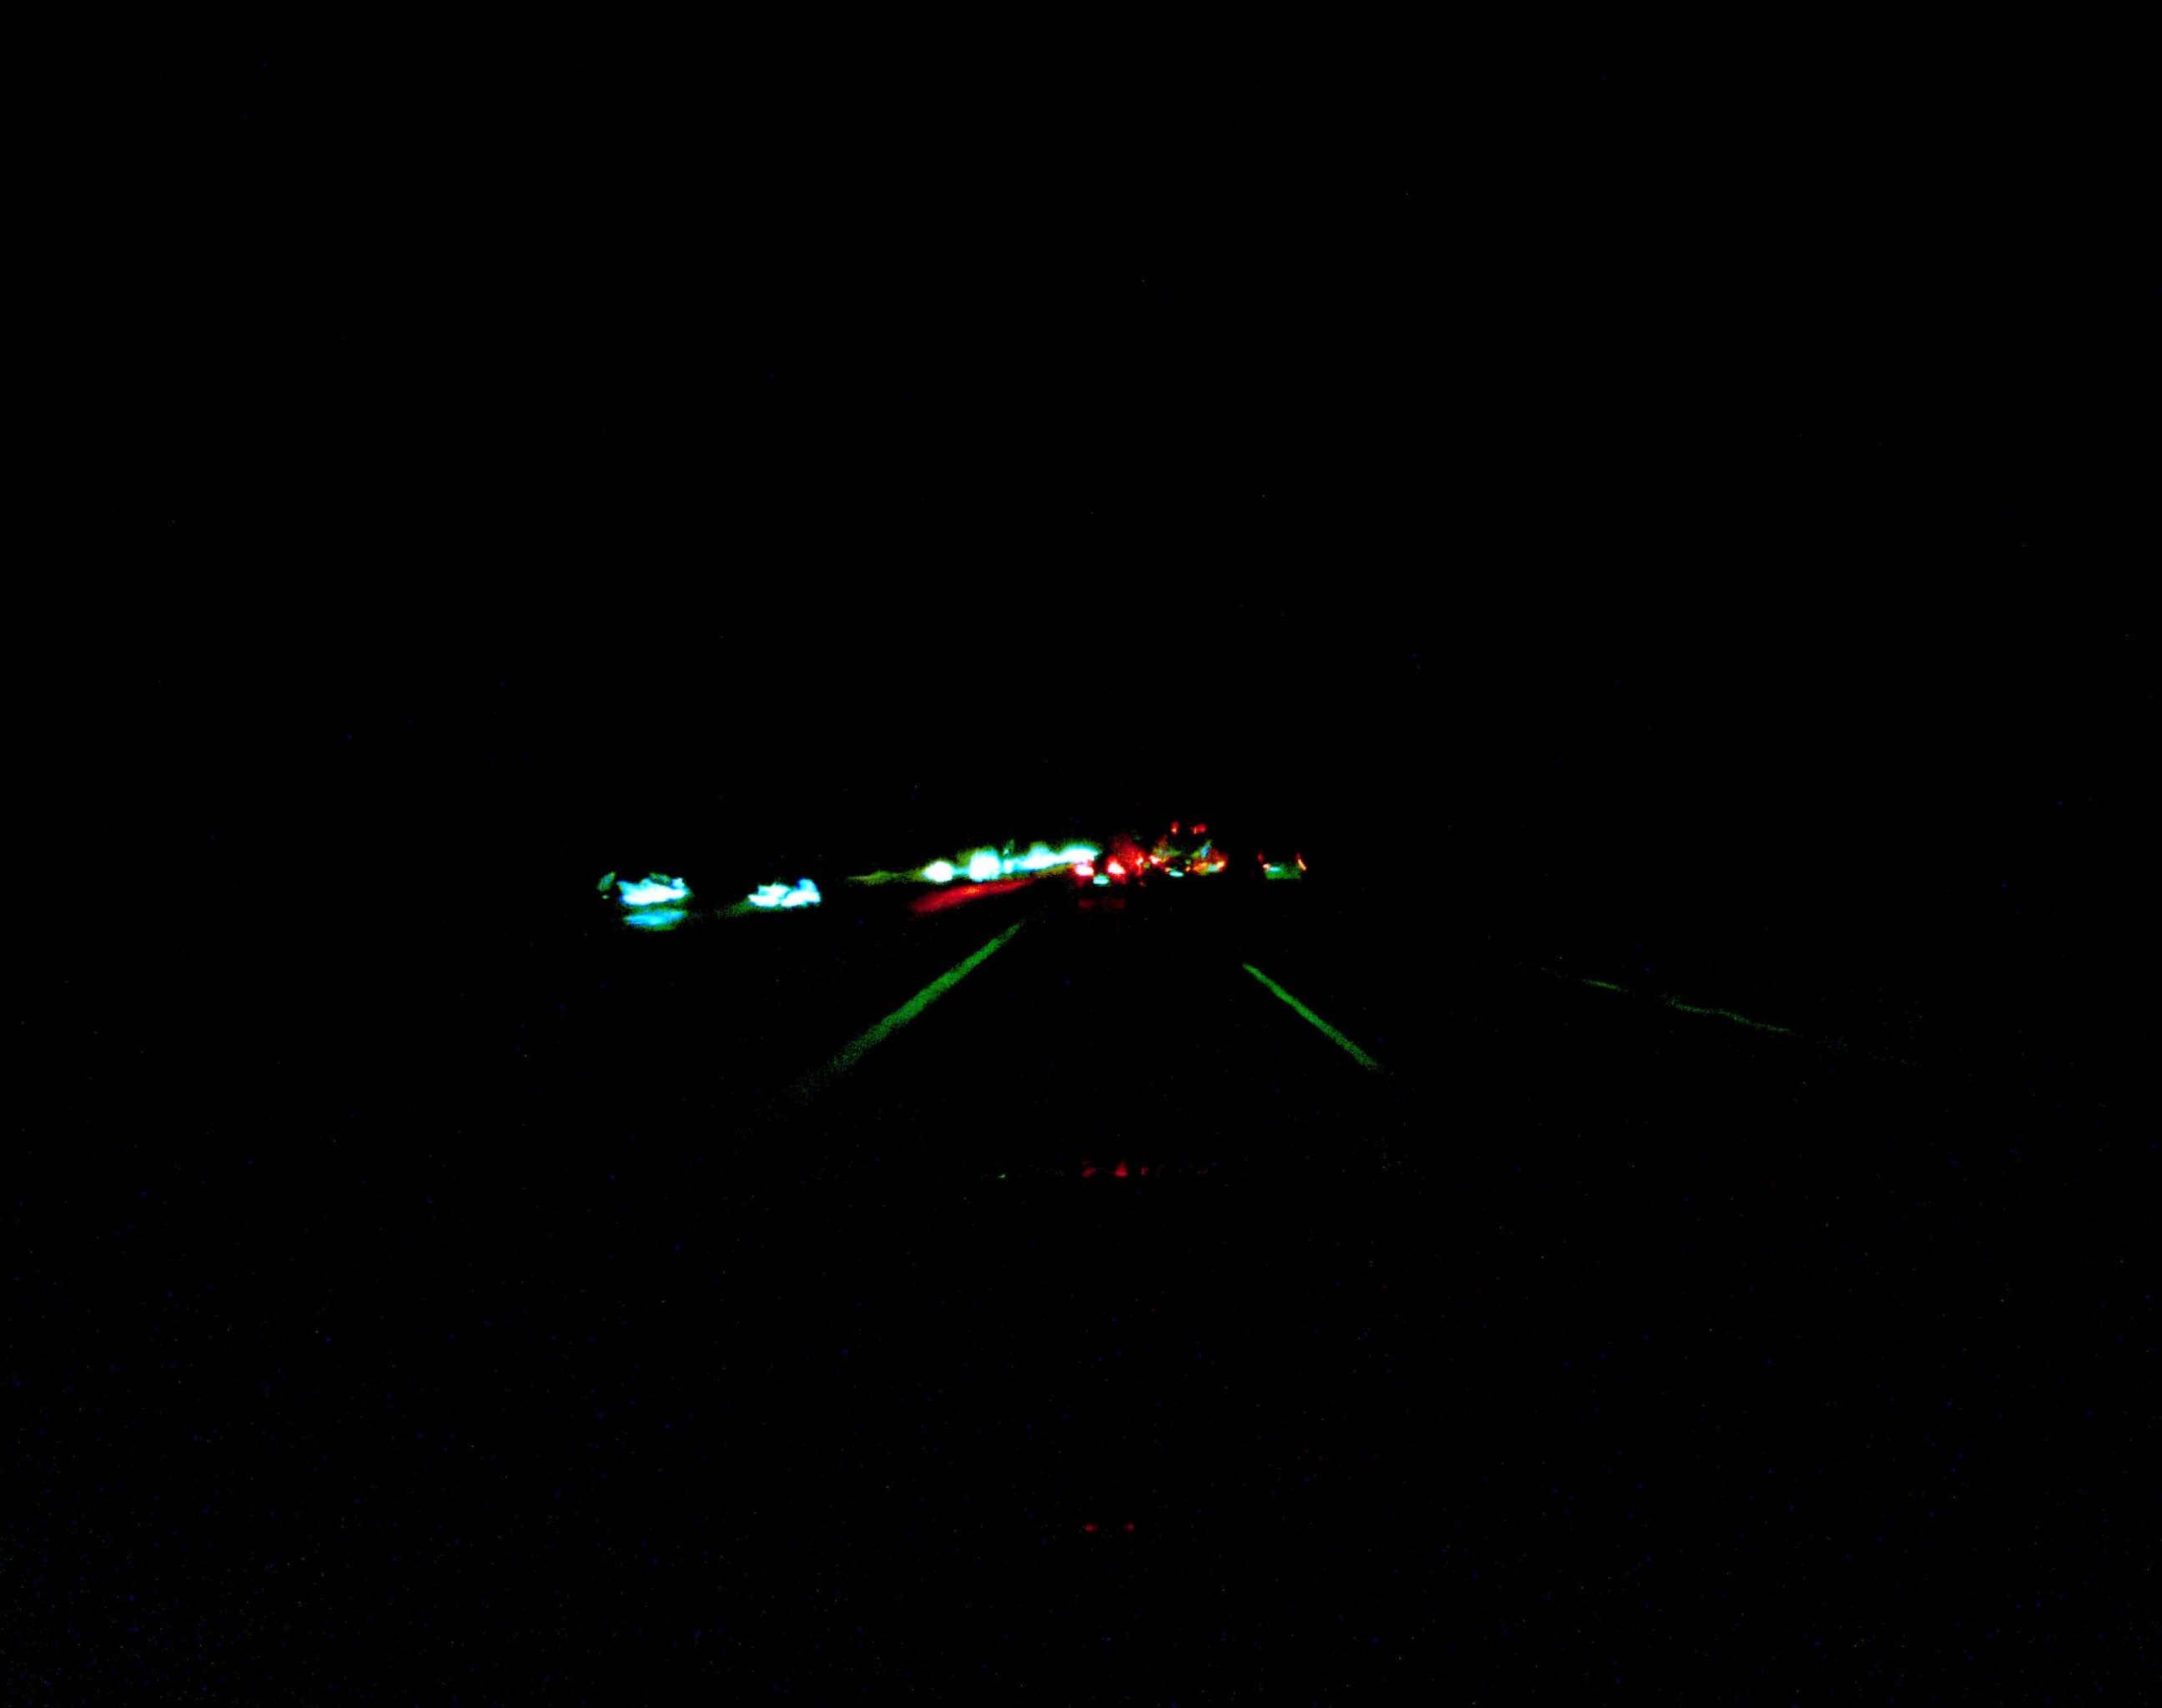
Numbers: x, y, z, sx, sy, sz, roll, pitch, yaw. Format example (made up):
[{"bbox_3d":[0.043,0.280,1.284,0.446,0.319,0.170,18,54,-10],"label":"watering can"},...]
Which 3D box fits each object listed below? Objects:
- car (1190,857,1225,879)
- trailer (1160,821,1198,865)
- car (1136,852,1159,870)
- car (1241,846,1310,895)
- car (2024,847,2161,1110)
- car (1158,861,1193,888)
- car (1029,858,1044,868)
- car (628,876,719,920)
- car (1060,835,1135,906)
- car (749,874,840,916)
[{"bbox_3d":[9.217,0.968,59.667,1.887,1.486,4.963,0,0,1],"label":"car"},{"bbox_3d":[10.009,-1.044,84.258,2.793,4.212,12.101,-1,0,2],"label":"trailer"},{"bbox_3d":[6.090,0.629,75.162,1.877,1.588,4.002,-1,0,2],"label":"car"},{"bbox_3d":[8.789,0.672,37.286,2.038,1.974,5.411,-3,0,3],"label":"car"},{"bbox_3d":[6.879,0.709,2.574,1.736,1.479,5.369,0,0,2],"label":"car"},{"bbox_3d":[5.361,1.129,46.497,1.607,1.412,3.792,-1,0,1],"label":"car"},{"bbox_3d":[-7.136,1.458,131.381,1.986,1.420,4.002,-3,0,2],"label":"car"},{"bbox_3d":[-21.967,2.323,44.152,1.986,1.948,5.389,-3,0,2],"label":"car"},{"bbox_3d":[0.655,0.609,33.464,2.701,2.534,5.831,-3,0,0],"label":"car"},{"bbox_3d":[-11.873,1.668,34.151,1.986,1.415,4.591,-3,0,2],"label":"car"}]
